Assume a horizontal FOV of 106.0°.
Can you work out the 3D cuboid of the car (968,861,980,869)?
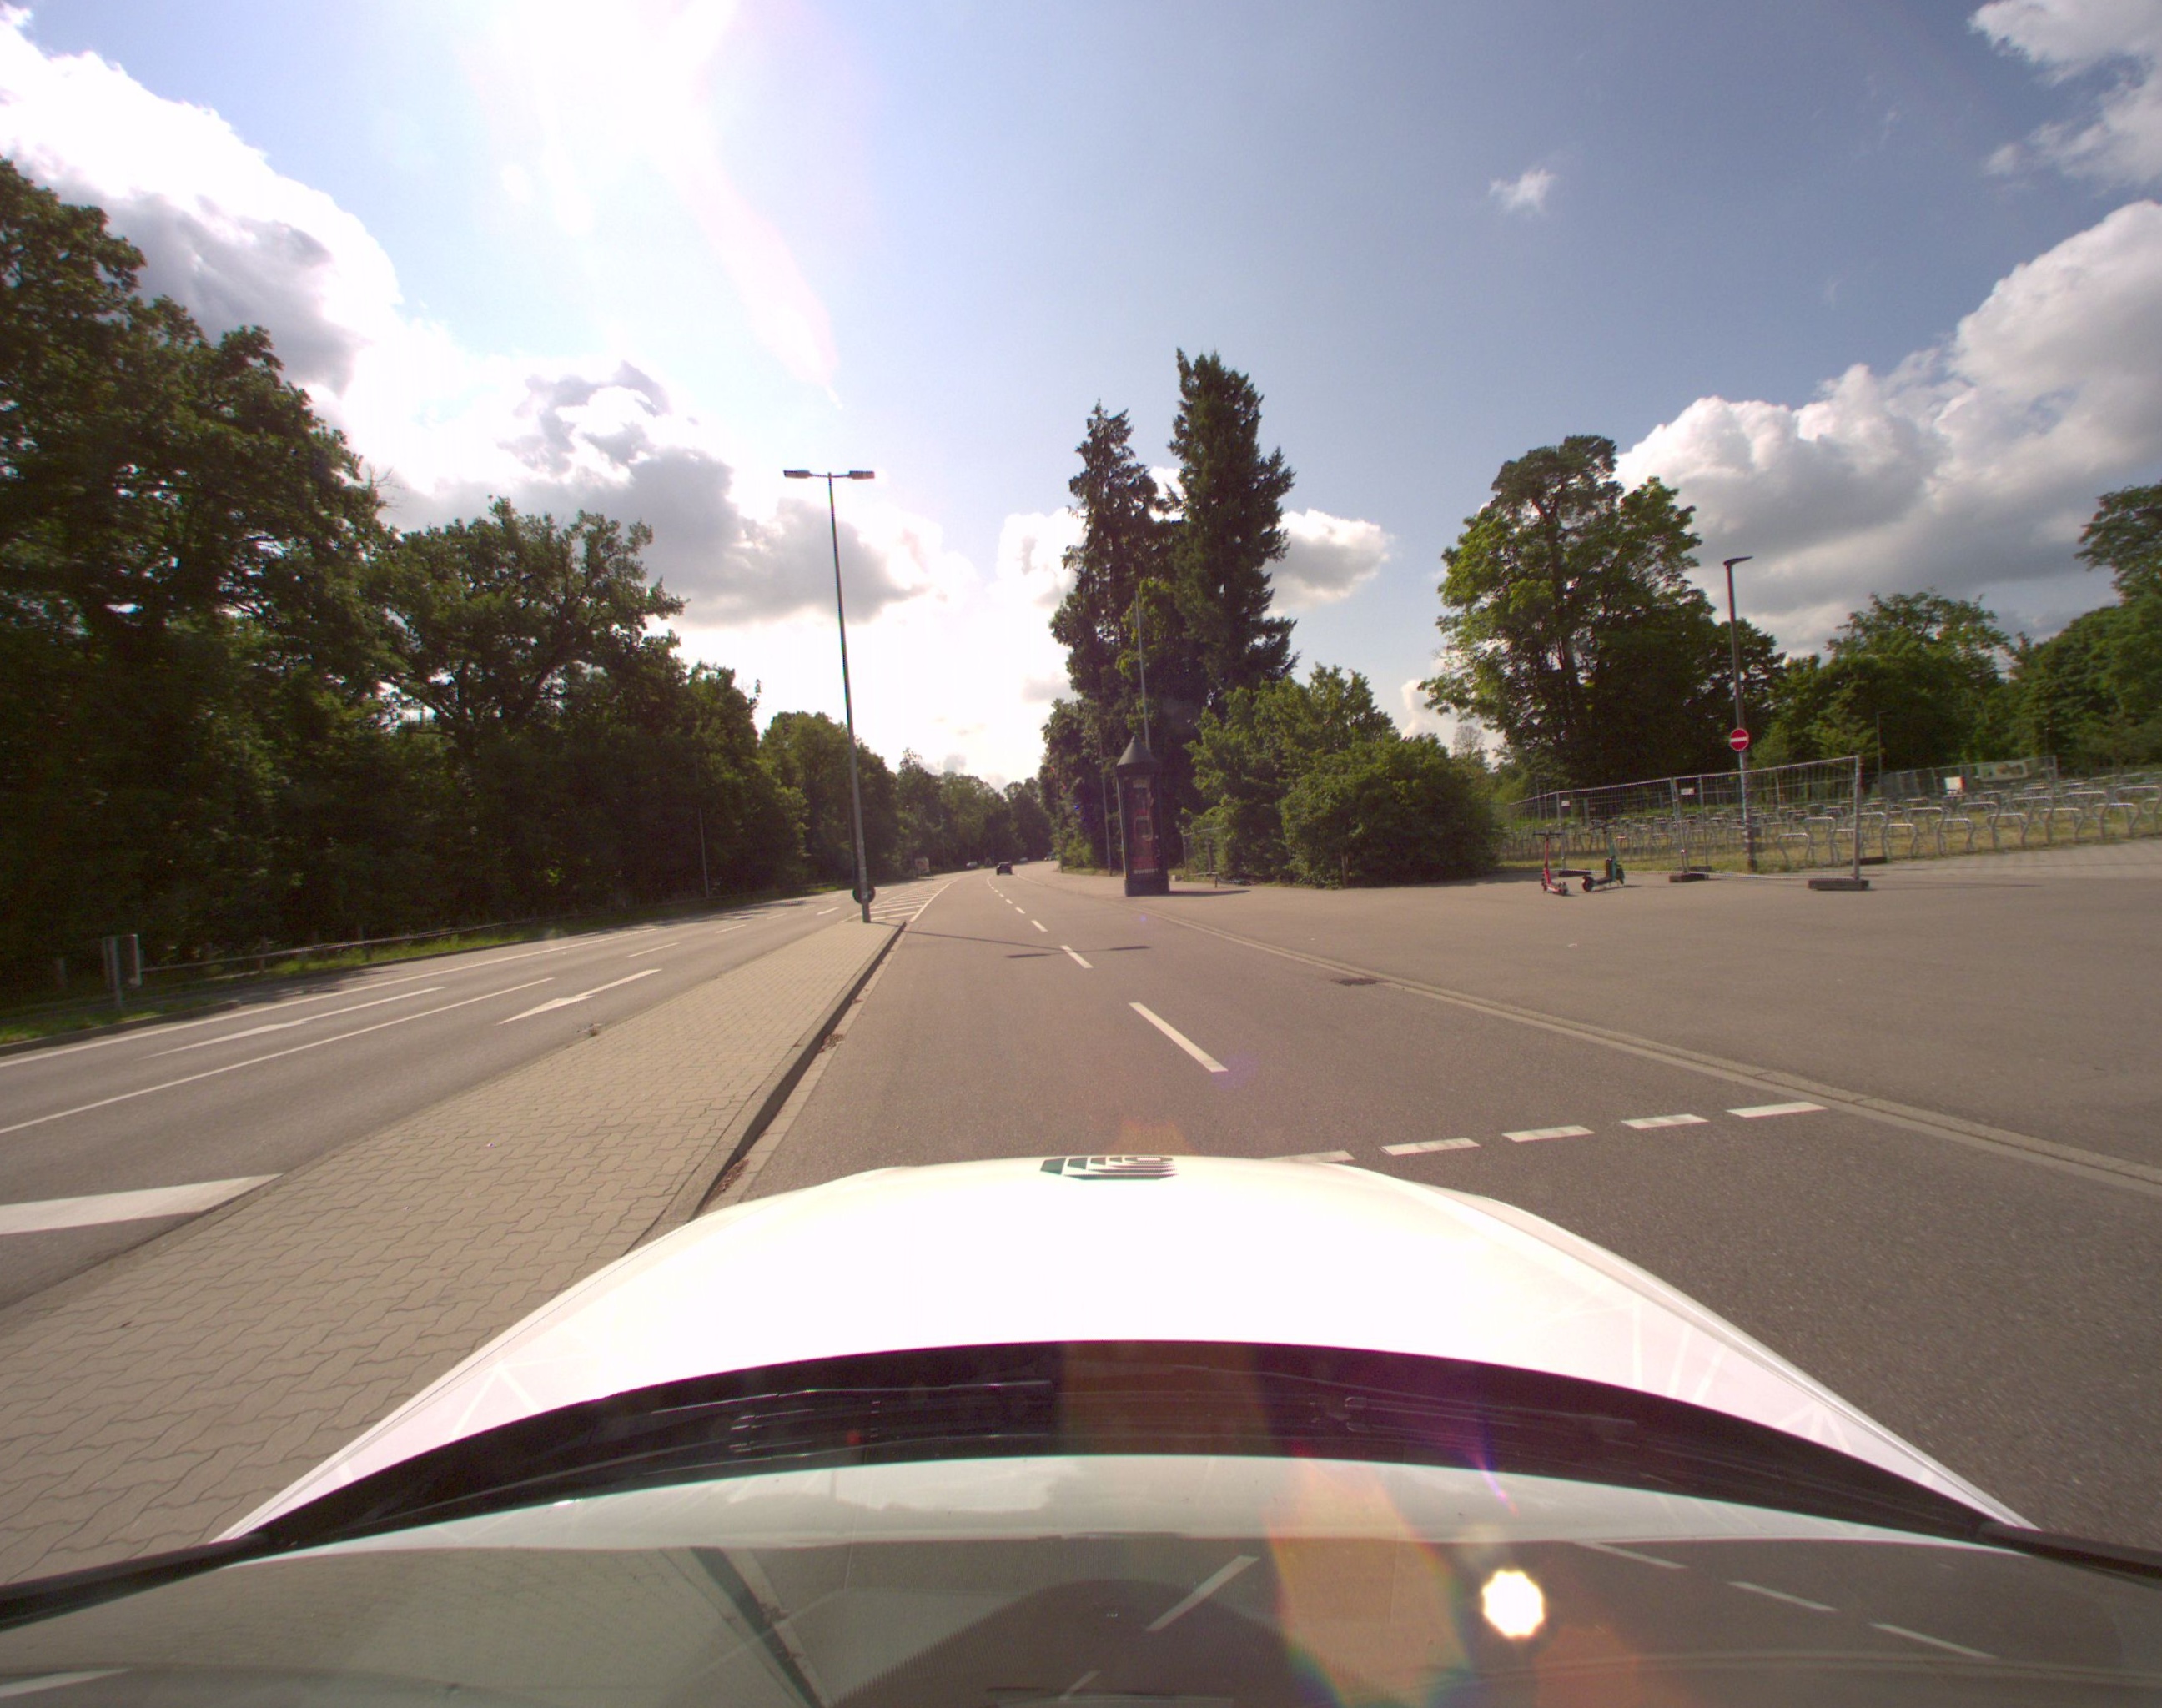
[{"bbox_3d":[-20.740,2.150,157.994,1.497,1.446,3.532,-4,0,3],"label":"car"}]

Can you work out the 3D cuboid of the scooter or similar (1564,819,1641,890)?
[{"bbox_3d":[10.049,0.008,15.701,1.310,1.252,0.405,-5,0,-16],"label":"scooter or similar"}]

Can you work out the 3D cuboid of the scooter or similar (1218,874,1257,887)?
[{"bbox_3d":[5.402,0.911,28.226,0.853,0.389,1.468,1,-1,-11],"label":"scooter or similar"}]

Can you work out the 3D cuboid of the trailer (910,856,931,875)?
[{"bbox_3d":[-21.401,1.533,108.990,1.988,2.388,3.997,-4,0,-2],"label":"trailer"}]

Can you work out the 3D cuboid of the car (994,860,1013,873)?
[{"bbox_3d":[-9.127,1.506,96.257,1.591,1.378,3.979,-4,0,3],"label":"car"}]

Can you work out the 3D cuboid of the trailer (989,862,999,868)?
[{"bbox_3d":[-19.327,2.436,180.821,1.709,1.354,3.735,-4,0,3],"label":"trailer"}]

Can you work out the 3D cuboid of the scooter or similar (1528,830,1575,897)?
[{"bbox_3d":[9.011,0.163,15.635,0.403,1.200,1.318,-5,0,17],"label":"scooter or similar"}]
